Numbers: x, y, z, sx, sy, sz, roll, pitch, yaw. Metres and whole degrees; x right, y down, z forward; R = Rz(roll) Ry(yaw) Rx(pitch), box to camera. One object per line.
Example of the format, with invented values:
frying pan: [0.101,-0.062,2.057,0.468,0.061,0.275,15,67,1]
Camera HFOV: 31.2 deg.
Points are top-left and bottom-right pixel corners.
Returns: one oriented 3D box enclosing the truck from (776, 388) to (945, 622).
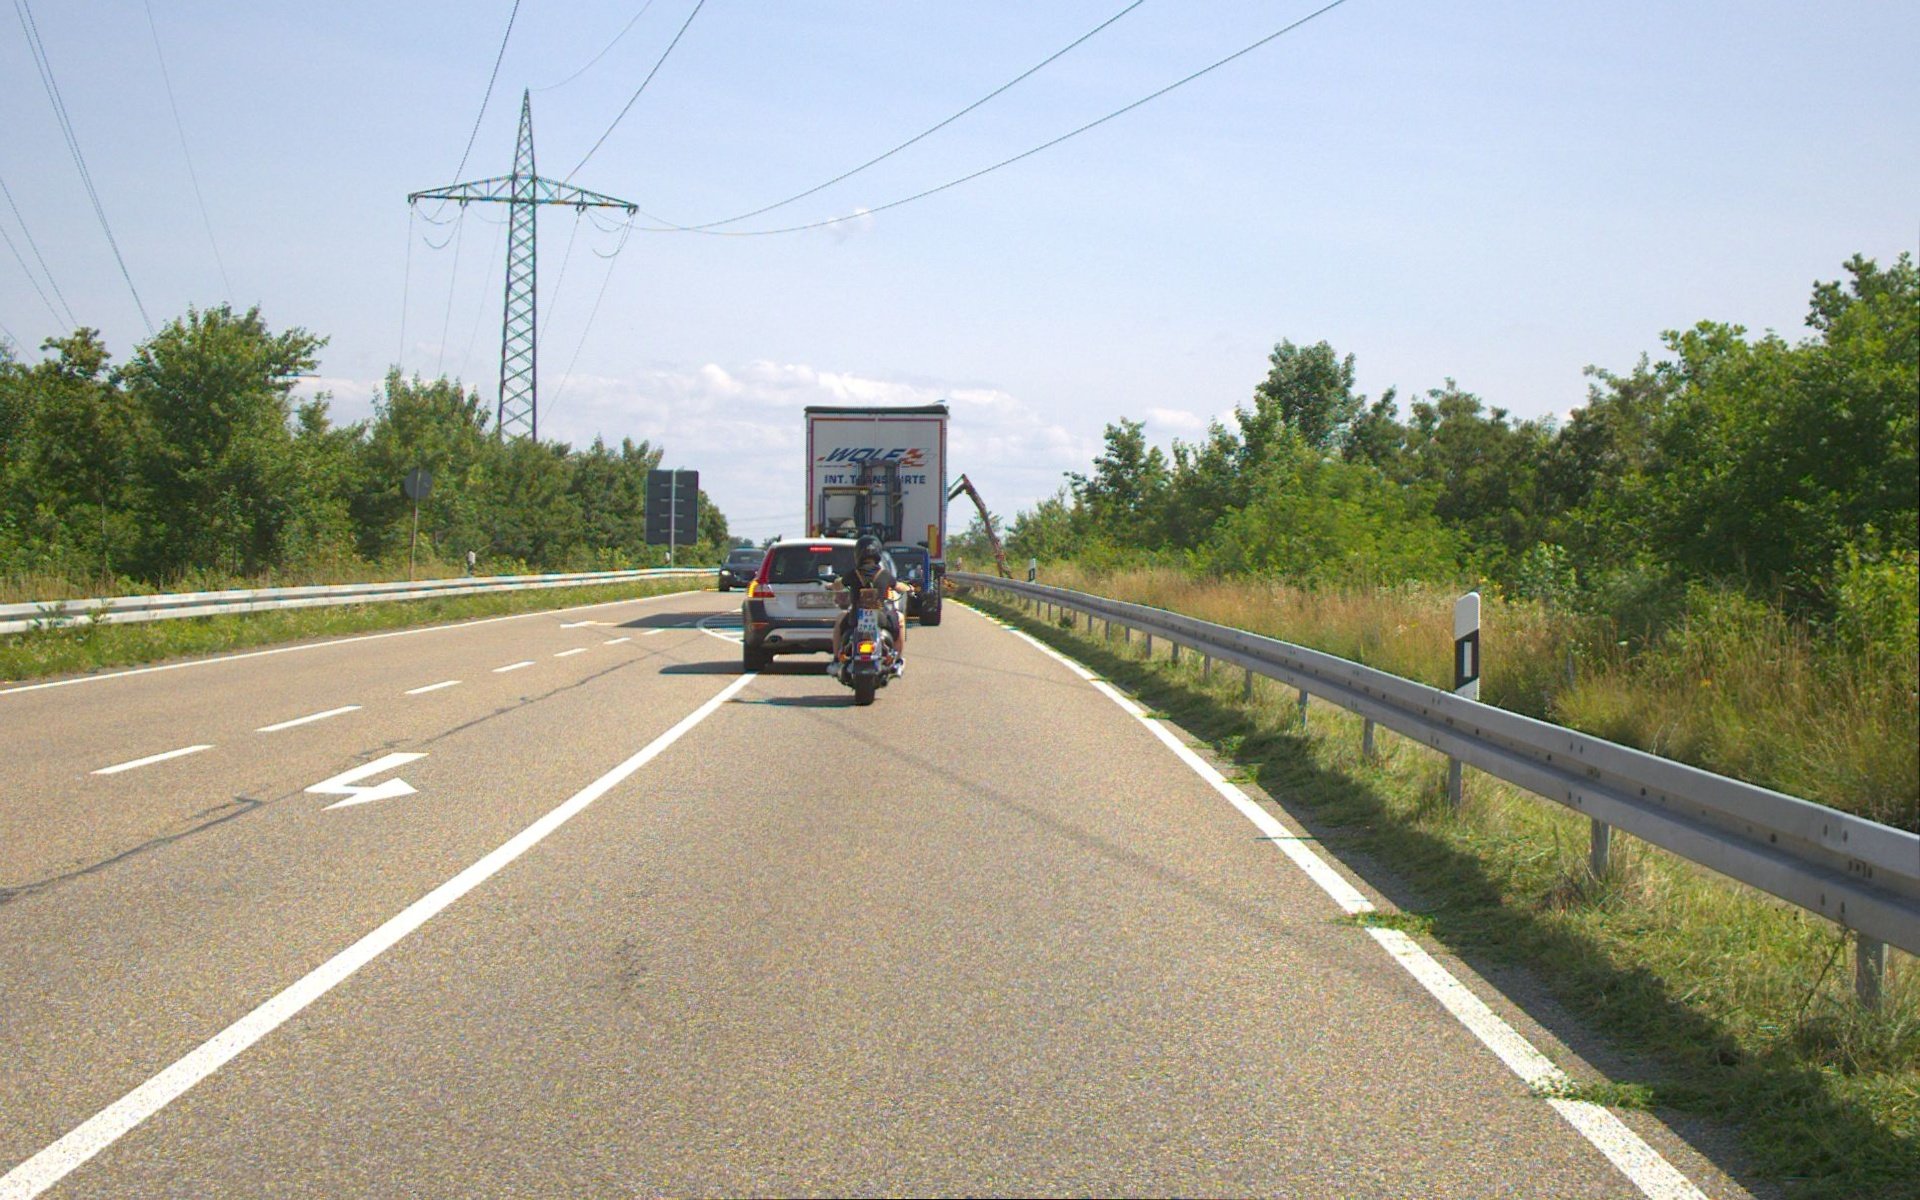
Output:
truck: [-1.822,-1.829,69.405,2.968,4.172,14.822,1,1,0]

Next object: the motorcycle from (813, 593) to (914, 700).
motorcycle: [-0.912,0.417,31.926,0.858,0.912,2.228,1,1,-3]

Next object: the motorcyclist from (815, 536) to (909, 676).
motorcyclist: [-0.917,0.049,31.965,0.837,1.276,0.919,1,1,-3]

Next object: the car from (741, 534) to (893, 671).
car: [-1.651,0.000,40.607,1.701,1.531,3.499,1,1,-1]

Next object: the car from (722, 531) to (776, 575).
car: [-7.393,-1.653,120.860,1.727,1.486,4.423,1,1,-2]
